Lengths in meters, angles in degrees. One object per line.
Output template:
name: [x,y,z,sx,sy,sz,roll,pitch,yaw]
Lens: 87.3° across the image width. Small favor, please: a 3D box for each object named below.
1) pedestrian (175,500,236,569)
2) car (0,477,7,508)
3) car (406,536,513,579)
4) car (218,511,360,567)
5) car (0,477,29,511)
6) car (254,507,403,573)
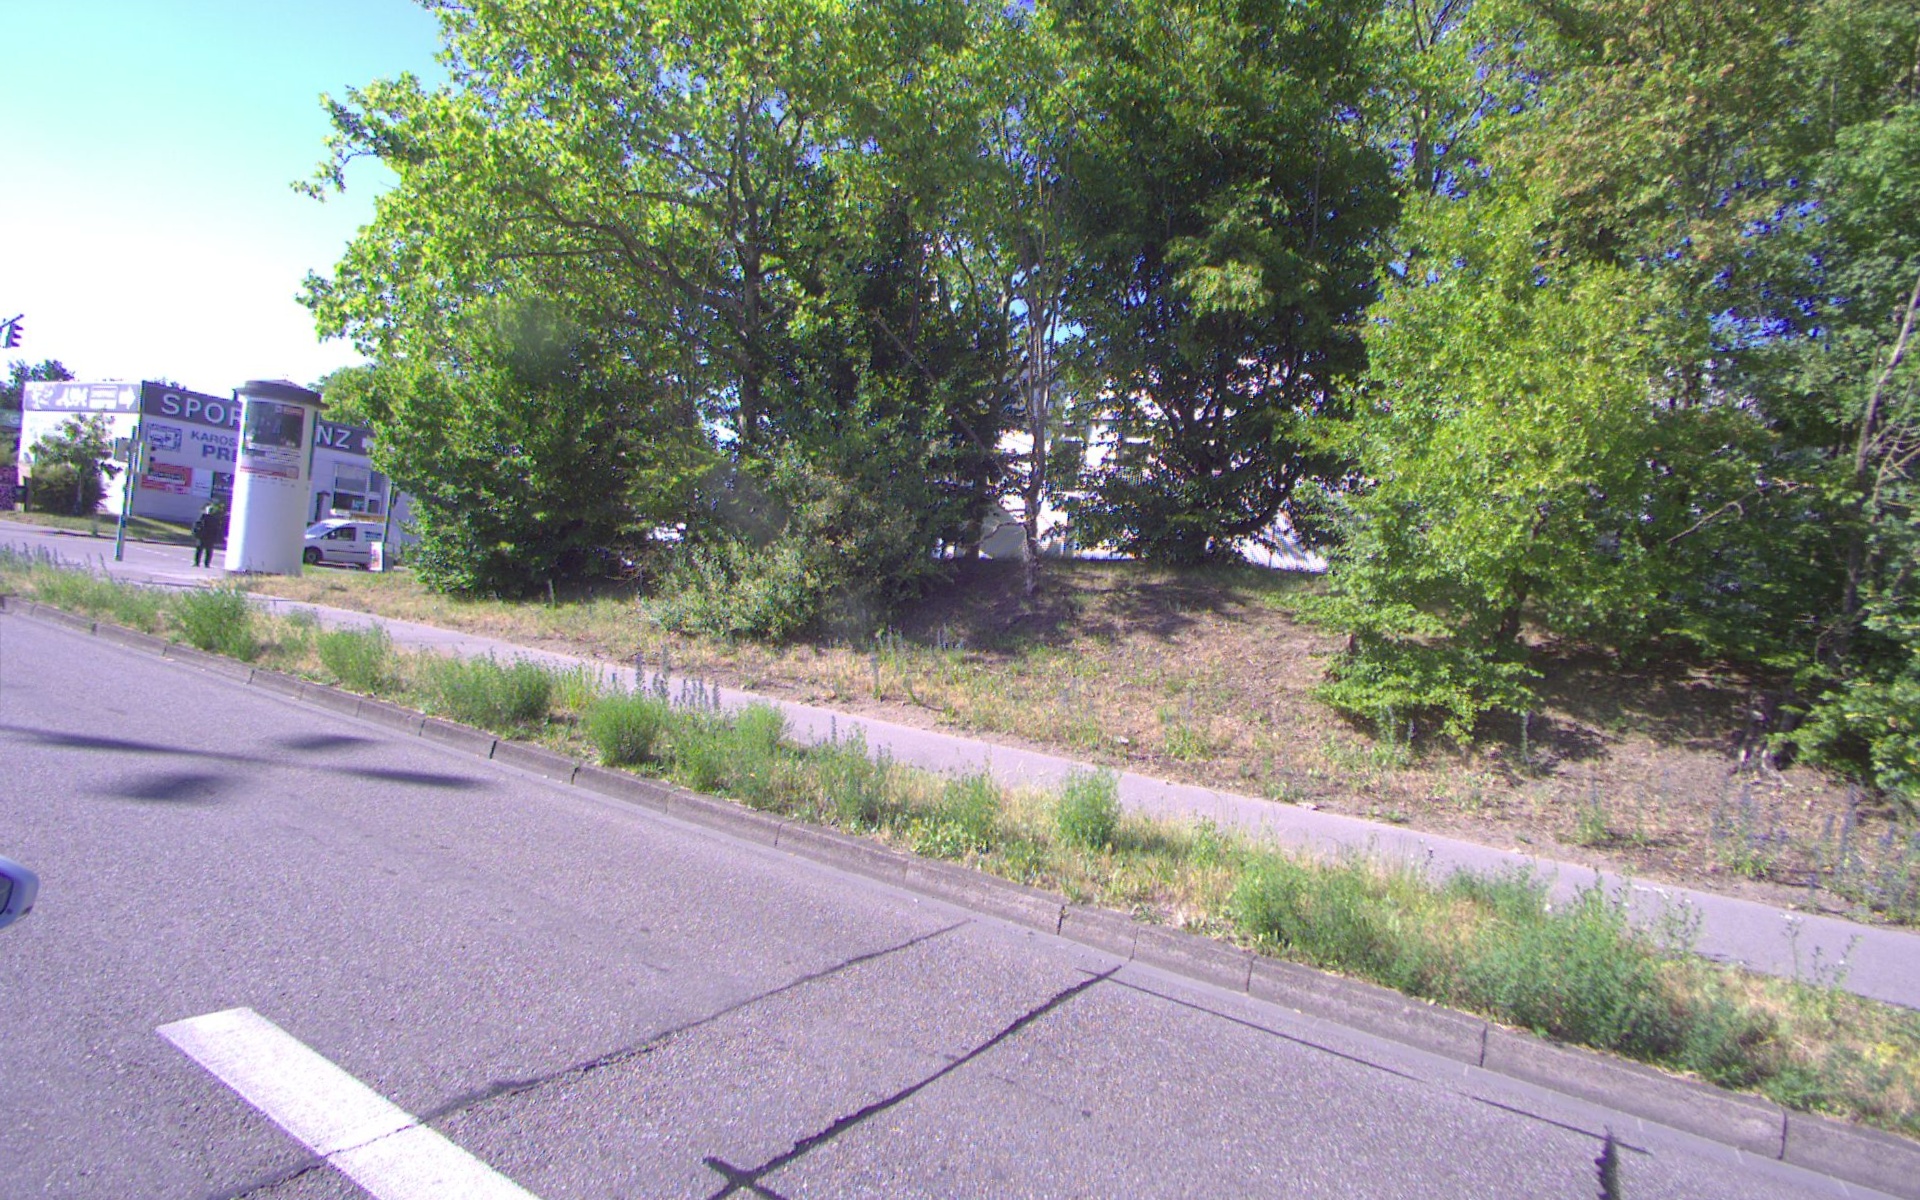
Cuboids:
pedestrian: [-21.043,-1.817,28.065,0.923,1.755,0.927,6,-1,31]
car: [-49.223,-5.492,48.469,1.828,1.472,4.490,7,1,33]
car: [-22.999,-1.944,46.384,1.752,1.509,4.046,7,1,30]
car: [-26.604,-2.379,40.017,1.735,1.568,4.292,9,1,30]
car: [-46.872,-5.225,47.099,1.828,1.472,4.490,7,1,33]
car: [-23.862,-2.228,38.179,1.735,1.824,4.387,9,1,30]
